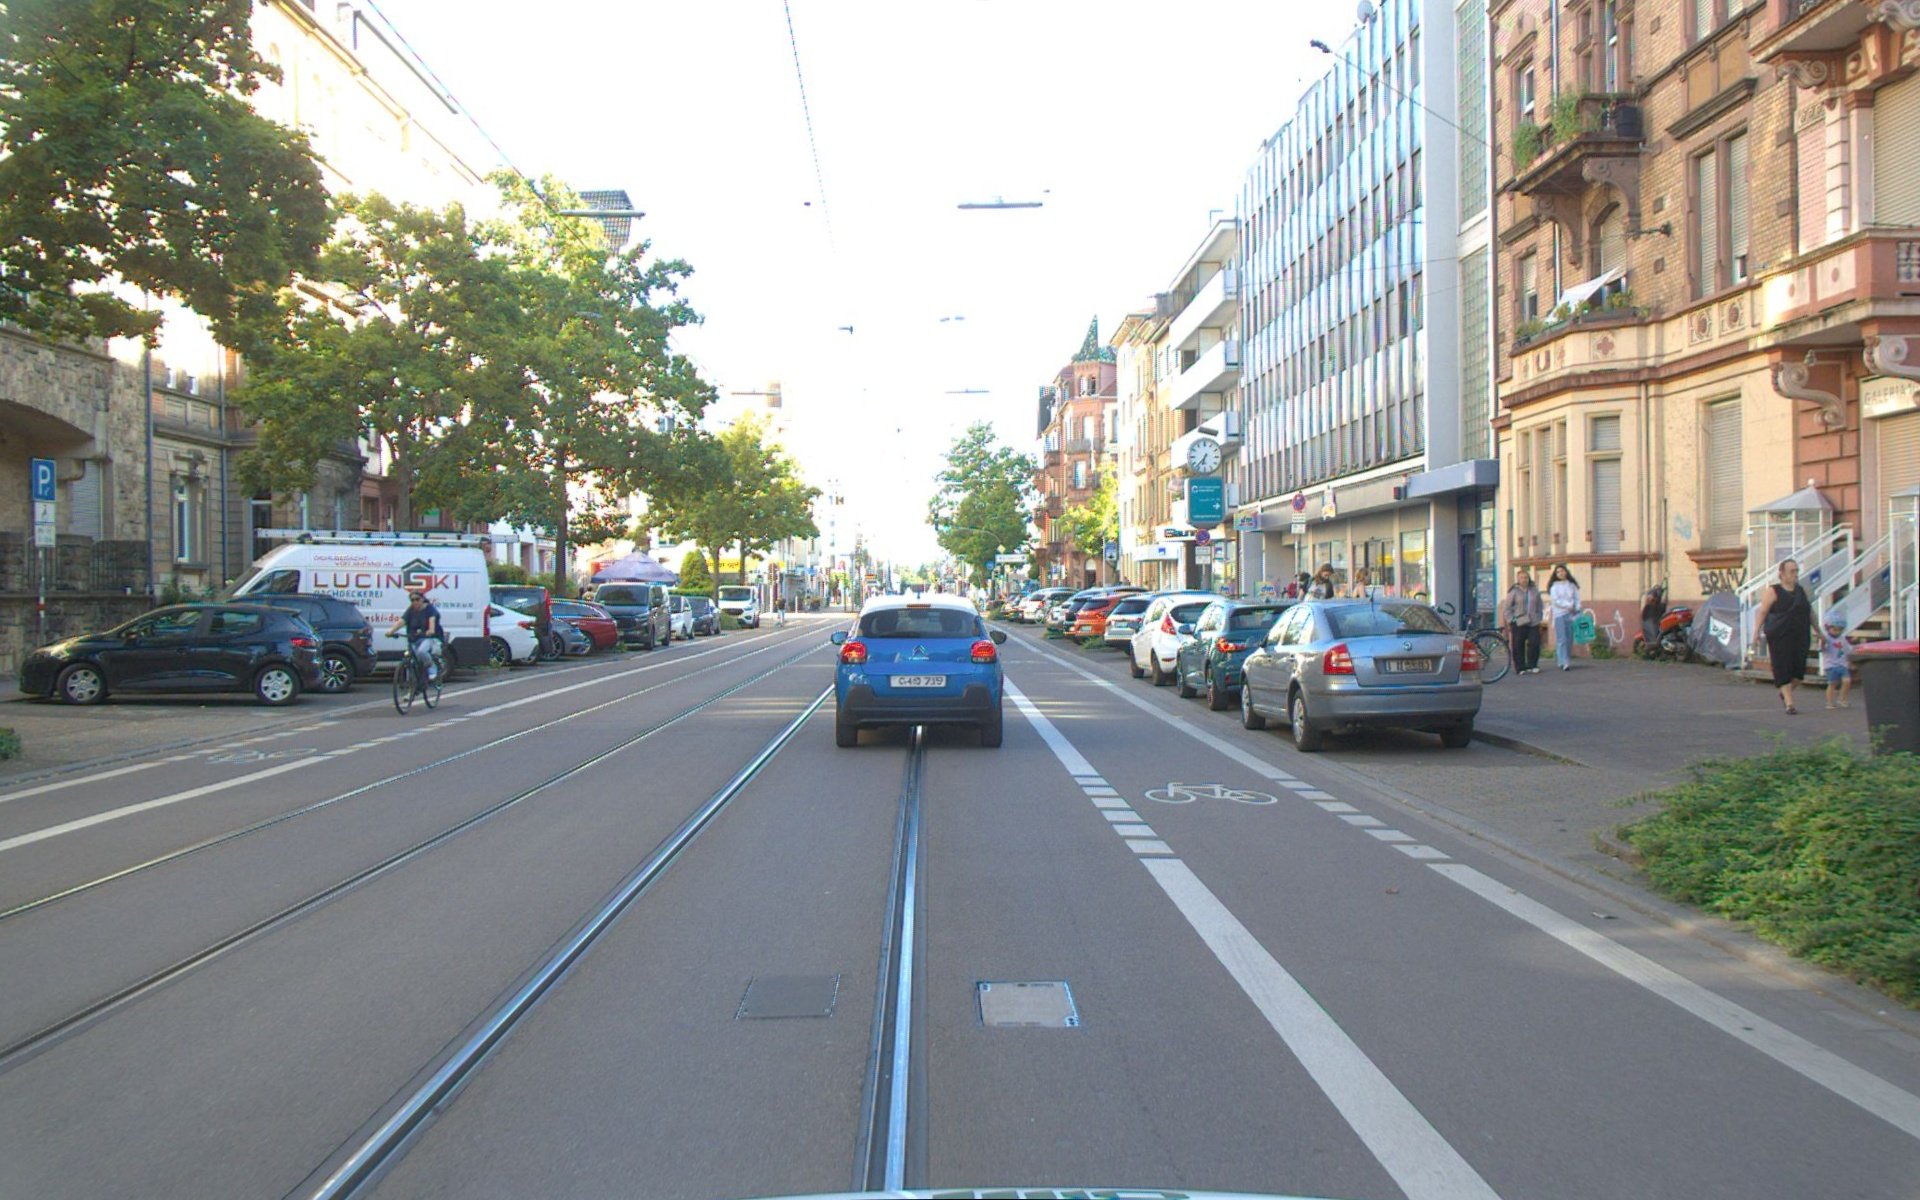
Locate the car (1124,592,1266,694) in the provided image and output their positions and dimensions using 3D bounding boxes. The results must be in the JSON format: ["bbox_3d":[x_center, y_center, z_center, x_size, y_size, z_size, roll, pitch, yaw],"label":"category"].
[{"bbox_3d":[3.964,0.684,28.465,1.835,1.624,3.999,0,0,-1],"label":"car"}]

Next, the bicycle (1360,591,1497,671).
[{"bbox_3d":[7.388,0.483,26.151,1.978,1.243,0.663,0,0,-2],"label":"bicycle"}]

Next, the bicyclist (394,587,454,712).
[{"bbox_3d":[-7.505,0.682,23.180,0.621,1.711,0.726,0,0,-1],"label":"bicyclist"}]

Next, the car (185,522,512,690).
[{"bbox_3d":[-10.955,0.098,29.778,5.316,2.797,1.787,0,0,-31],"label":"car"}]

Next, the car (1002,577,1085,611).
[{"bbox_3d":[4.015,-0.269,79.842,3.601,1.601,1.850,0,0,-21],"label":"car"}]

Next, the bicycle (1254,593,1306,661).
[{"bbox_3d":[5.814,0.488,30.135,0.679,1.206,1.238,0,0,-2],"label":"bicycle"}]

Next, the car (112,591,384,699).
[{"bbox_3d":[-11.515,0.686,26.817,3.939,1.646,1.698,0,0,-27],"label":"car"}]

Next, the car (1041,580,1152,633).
[{"bbox_3d":[4.446,0.203,53.893,3.417,1.668,1.662,0,0,-38],"label":"car"}]

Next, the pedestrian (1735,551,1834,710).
[{"bbox_3d":[8.624,0.313,17.313,0.697,1.635,0.654,0,0,-2],"label":"pedestrian"}]

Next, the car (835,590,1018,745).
[{"bbox_3d":[-0.355,0.638,17.440,1.726,1.466,3.556,0,0,-1],"label":"car"}]

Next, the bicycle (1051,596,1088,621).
[{"bbox_3d":[4.651,0.358,70.087,0.549,1.066,1.784,0,0,-36],"label":"bicycle"}]

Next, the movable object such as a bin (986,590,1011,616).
[{"bbox_3d":[2.211,0.173,95.686,1.366,1.509,1.655,0,0,-1],"label":"movable object such as a bin"}]

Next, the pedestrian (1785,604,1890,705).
[{"bbox_3d":[9.318,0.571,17.576,0.697,0.997,0.654,-4,0,-2],"label":"pedestrian"}]

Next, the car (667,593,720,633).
[{"bbox_3d":[-10.467,0.503,65.210,1.713,1.513,4.038,0,0,-4],"label":"car"}]

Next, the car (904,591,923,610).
[{"bbox_3d":[-3.612,0.027,128.854,1.394,1.457,3.138,0,0,-1],"label":"car"}]

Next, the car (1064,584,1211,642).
[{"bbox_3d":[4.898,0.347,45.602,3.686,1.547,1.945,0,0,-34],"label":"car"}]

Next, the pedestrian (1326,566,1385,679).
[{"bbox_3d":[5.845,0.328,24.466,0.697,1.635,0.654,0,0,-2],"label":"pedestrian"}]

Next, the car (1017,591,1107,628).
[{"bbox_3d":[4.530,0.398,73.677,3.615,1.601,1.842,0,0,-30],"label":"car"}]

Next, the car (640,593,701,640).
[{"bbox_3d":[-10.444,0.576,59.871,1.713,1.646,4.407,0,0,-4],"label":"car"}]

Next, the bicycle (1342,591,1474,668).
[{"bbox_3d":[7.341,0.471,27.127,1.978,1.243,0.663,0,0,-2],"label":"bicycle"}]

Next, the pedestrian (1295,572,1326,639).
[{"bbox_3d":[9.422,0.134,44.488,0.678,1.786,0.678,0,0,-1],"label":"pedestrian"}]

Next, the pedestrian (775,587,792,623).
[{"bbox_3d":[-8.831,0.250,82.682,0.720,1.756,0.623,0,0,-25],"label":"pedestrian"}]

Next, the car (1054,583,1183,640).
[{"bbox_3d":[4.619,0.326,48.157,3.409,1.582,1.803,0,0,-33],"label":"car"}]

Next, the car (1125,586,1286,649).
[{"bbox_3d":[6.183,0.417,41.648,3.735,1.513,1.819,0,0,-31],"label":"car"}]

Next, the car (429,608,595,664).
[{"bbox_3d":[-11.010,0.858,40.685,3.752,1.287,1.503,0,0,-27],"label":"car"}]

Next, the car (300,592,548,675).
[{"bbox_3d":[-11.182,0.658,34.651,4.713,1.646,1.692,0,0,-34],"label":"car"}]

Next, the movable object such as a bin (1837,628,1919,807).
[{"bbox_3d":[5.975,0.705,10.281,0.592,1.045,0.806,-1,0,-1],"label":"movable object such as a bin"}]

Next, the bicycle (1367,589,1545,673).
[{"bbox_3d":[7.477,0.467,24.982,2.487,1.243,0.663,0,0,-2],"label":"bicycle"}]

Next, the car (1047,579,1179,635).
[{"bbox_3d":[4.743,0.213,51.168,3.686,1.681,2.023,0,0,-34],"label":"car"}]

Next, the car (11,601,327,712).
[{"bbox_3d":[-11.419,0.777,24.181,3.924,1.515,1.797,0,0,-18],"label":"car"}]

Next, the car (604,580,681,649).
[{"bbox_3d":[-9.705,0.421,50.850,1.713,2.008,5.236,0,0,-4],"label":"car"}]

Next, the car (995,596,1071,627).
[{"bbox_3d":[3.806,0.580,86.415,3.601,1.561,1.778,0,0,-21],"label":"car"}]

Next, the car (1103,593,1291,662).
[{"bbox_3d":[5.550,0.605,38.558,4.394,1.534,1.520,0,0,-31],"label":"car"}]

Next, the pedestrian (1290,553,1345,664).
[{"bbox_3d":[5.586,0.131,25.863,0.697,1.701,0.654,0,0,-2],"label":"pedestrian"}]

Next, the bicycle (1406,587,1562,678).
[{"bbox_3d":[7.493,0.458,23.701,2.015,1.243,0.663,-1,0,-3],"label":"bicycle"}]

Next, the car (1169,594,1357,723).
[{"bbox_3d":[4.089,0.743,22.930,1.835,1.624,3.999,0,0,-1],"label":"car"}]

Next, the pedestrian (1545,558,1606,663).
[{"bbox_3d":[9.688,0.160,26.047,0.697,1.635,0.654,0,0,-2],"label":"pedestrian"}]

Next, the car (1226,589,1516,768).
[{"bbox_3d":[4.128,0.716,17.440,1.835,1.624,4.718,0,0,-1],"label":"car"}]

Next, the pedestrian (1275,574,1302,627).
[{"bbox_3d":[10.074,0.013,50.696,0.678,1.615,0.678,0,0,-1],"label":"pedestrian"}]

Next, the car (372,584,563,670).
[{"bbox_3d":[-11.119,0.574,37.370,3.939,1.848,1.698,0,0,-27],"label":"car"}]

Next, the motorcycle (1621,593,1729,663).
[{"bbox_3d":[11.083,0.416,25.731,0.496,1.009,2.518,-4,0,-1],"label":"motorcycle"}]

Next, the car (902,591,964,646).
[{"bbox_3d":[-0.816,0.548,50.617,1.835,1.624,3.999,0,0,-1],"label":"car"}]

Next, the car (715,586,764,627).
[{"bbox_3d":[-10.466,0.306,78.769,1.794,1.880,4.213,0,0,-1],"label":"car"}]

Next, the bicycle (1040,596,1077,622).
[{"bbox_3d":[4.139,0.367,69.719,0.549,1.066,1.784,0,0,-36],"label":"bicycle"}]

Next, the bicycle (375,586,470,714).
[{"bbox_3d":[-7.496,0.667,23.153,0.666,1.708,2.096,0,0,-1],"label":"bicycle"}]

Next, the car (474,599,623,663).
[{"bbox_3d":[-10.944,0.794,43.972,3.672,1.651,1.777,0,0,-23],"label":"car"}]

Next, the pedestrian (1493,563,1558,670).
[{"bbox_3d":[8.911,0.254,26.087,0.697,1.635,0.654,-3,0,-2],"label":"pedestrian"}]
